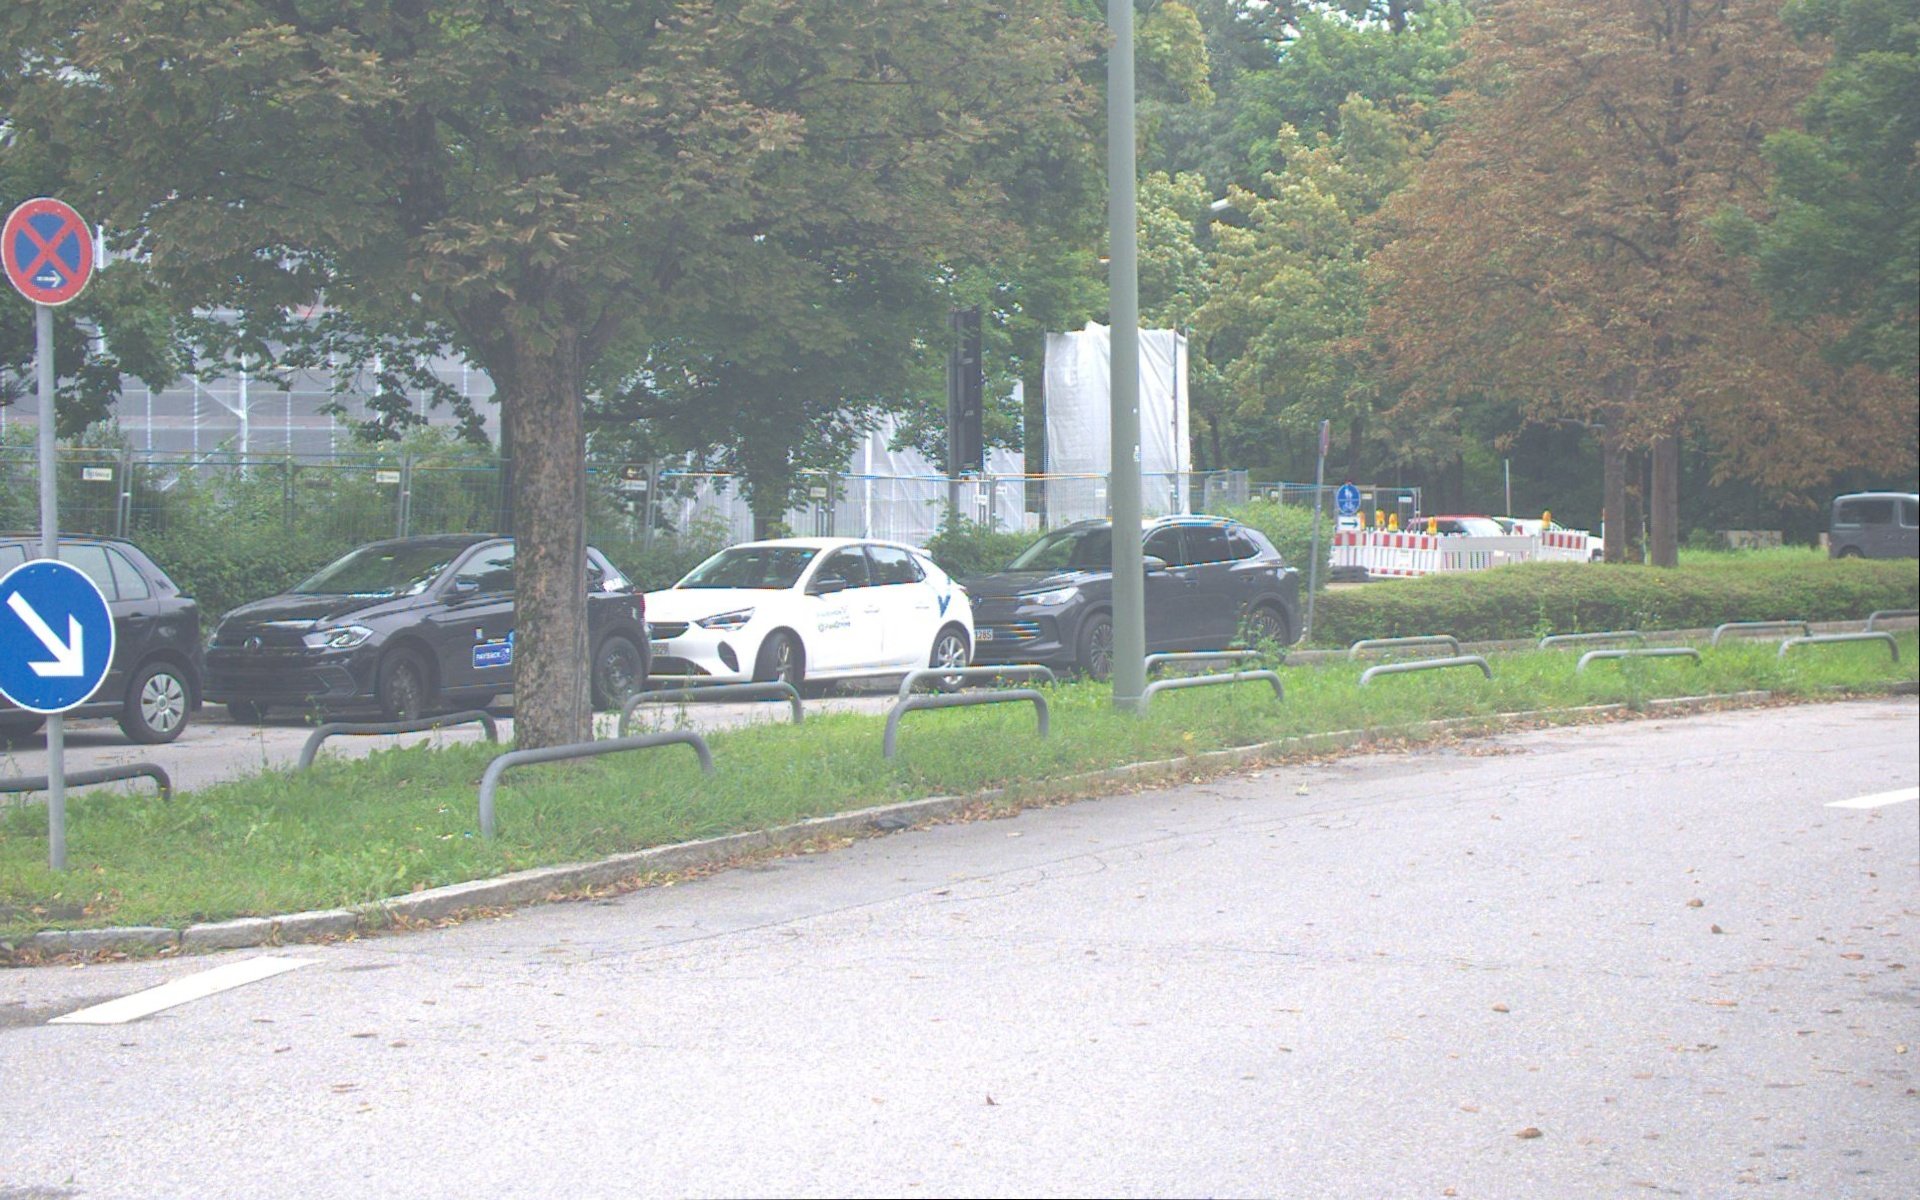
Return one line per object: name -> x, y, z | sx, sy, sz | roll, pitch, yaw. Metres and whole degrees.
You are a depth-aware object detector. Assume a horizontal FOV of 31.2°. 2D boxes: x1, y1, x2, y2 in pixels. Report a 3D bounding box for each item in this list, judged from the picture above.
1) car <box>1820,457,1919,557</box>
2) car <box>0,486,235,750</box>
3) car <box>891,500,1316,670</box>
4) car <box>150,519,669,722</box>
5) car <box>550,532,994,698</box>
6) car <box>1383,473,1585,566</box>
car -> 19.807, -1.900, 70.145 | 1.994, 2.007, 3.999 | -1, 2, -39
car -> -6.951, 0.117, 22.773 | 1.997, 1.700, 3.993 | 0, 1, 31
car -> 1.503, -0.119, 34.565 | 1.890, 1.600, 4.385 | 0, -1, 42
car -> -4.210, 0.118, 26.891 | 1.837, 1.456, 3.999 | 0, 1, 31
car -> -1.613, 0.094, 30.915 | 1.799, 1.379, 4.210 | 0, 1, 34
car -> 11.619, -1.788, 76.430 | 1.994, 2.007, 4.156 | -1, 2, -39
